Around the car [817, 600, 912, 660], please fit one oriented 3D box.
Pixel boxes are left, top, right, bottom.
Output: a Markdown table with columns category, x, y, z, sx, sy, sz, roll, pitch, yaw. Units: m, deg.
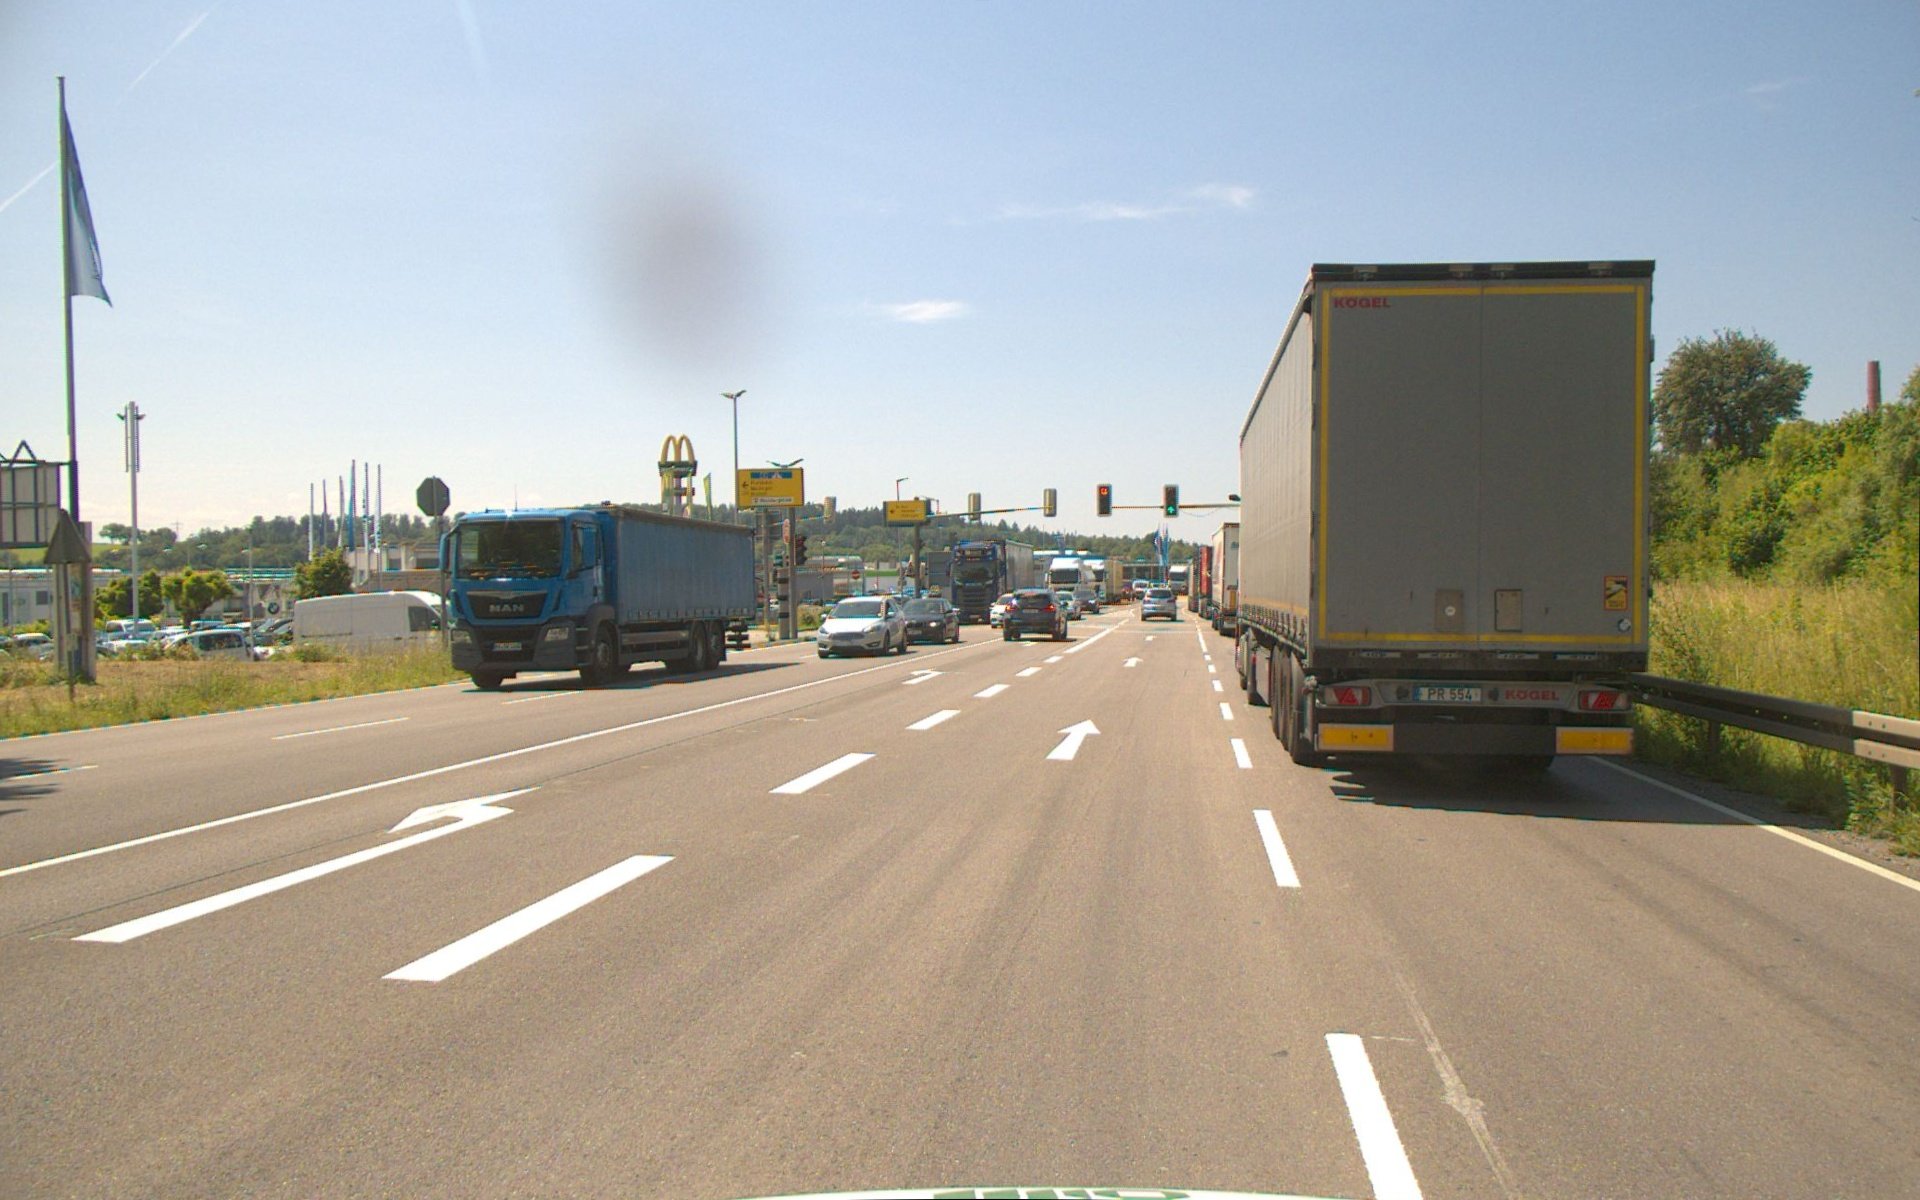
| category | x | y | z | sx | sy | sz | roll | pitch | yaw |
| --- | --- | --- | --- | --- | --- | --- | --- | --- | --- |
| car | -2.401 | 0.733 | 42.537 | 1.751 | 1.451 | 4.266 | 0 | 0 | 6 |

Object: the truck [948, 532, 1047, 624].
| category | x | y | z | sx | sy | sz | roll | pitch | yaw |
| --- | --- | --- | --- | --- | --- | --- | --- | --- | --- |
| truck | 2.283 | -1.132 | 89.146 | 3.079 | 4.425 | 17.557 | -1 | 0 | 8 |

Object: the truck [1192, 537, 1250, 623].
| category | x | y | z | sx | sy | sz | roll | pitch | yaw |
| --- | --- | --- | --- | --- | --- | --- | --- | --- | --- |
| truck | 15.081 | -0.955 | 96.560 | 2.814 | 4.557 | 16.666 | 0 | -1 | 7 |

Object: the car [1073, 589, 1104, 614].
| category | x | y | z | sx | sy | sz | roll | pitch | yaw |
| --- | --- | --- | --- | --- | --- | --- | --- | --- | --- |
| car | 8.165 | 0.093 | 104.762 | 1.628 | 1.535 | 3.908 | -2 | 0 | 9 |

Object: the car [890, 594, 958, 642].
| category | x | y | z | sx | sy | sz | roll | pitch | yaw |
| --- | --- | --- | --- | --- | --- | --- | --- | --- | --- |
| car | -1.095 | 0.538 | 51.506 | 1.627 | 1.428 | 4.019 | -1 | 0 | 6 |

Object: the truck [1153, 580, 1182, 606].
| category | x | y | z | sx | sy | sz | roll | pitch | yaw |
| --- | --- | --- | --- | --- | --- | --- | --- | --- | --- |
| truck | 32.986 | -1.103 | 262.477 | 3.201 | 4.019 | 13.877 | -1 | 0 | 13 |

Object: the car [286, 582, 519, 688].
| category | x | y | z | sx | sy | sz | roll | pitch | yaw |
| --- | --- | --- | --- | --- | --- | --- | --- | --- | --- |
| car | -16.261 | 0.992 | 48.451 | 5.868 | 2.530 | 2.196 | -5 | 0 | 2 |

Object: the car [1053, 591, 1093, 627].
| category | x | y | z | sx | sy | sz | roll | pitch | yaw |
| --- | --- | --- | --- | --- | --- | --- | --- | --- | --- |
| car | 6.091 | 0.456 | 88.492 | 1.772 | 1.534 | 4.953 | -1 | 4 | 8 |

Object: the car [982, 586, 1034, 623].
| category | x | y | z | sx | sy | sz | roll | pitch | yaw |
| --- | --- | --- | --- | --- | --- | --- | --- | --- | --- |
| car | 2.157 | 0.234 | 73.053 | 1.703 | 1.530 | 4.409 | -2 | -1 | 9 |

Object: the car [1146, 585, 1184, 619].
| category | x | y | z | sx | sy | sz | roll | pitch | yaw |
| --- | --- | --- | --- | --- | --- | --- | --- | --- | --- |
| car | 10.728 | 0.097 | 86.384 | 1.766 | 1.699 | 4.295 | 0 | 0 | 10 |

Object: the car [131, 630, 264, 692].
| category | x | y | z | sx | sy | sz | roll | pitch | yaw |
| --- | --- | --- | --- | --- | --- | --- | --- | --- | --- |
| car | -27.149 | 2.153 | 58.921 | 3.962 | 2.049 | 1.971 | -1 | -1 | -40 |

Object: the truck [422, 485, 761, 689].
| category | x | y | z | sx | sy | sz | roll | pitch | yaw |
| --- | --- | --- | --- | --- | --- | --- | --- | --- | --- |
| truck | -6.905 | -0.188 | 33.510 | 2.786 | 3.410 | 11.491 | -1 | 0 | 8 |

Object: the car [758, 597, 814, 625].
| category | x | y | z | sx | sy | sz | roll | pitch | yaw |
| --- | --- | --- | --- | --- | --- | --- | --- | --- | --- |
| car | -13.337 | 0.845 | 126.692 | 1.910 | 2.049 | 3.973 | -1 | 0 | 44 |

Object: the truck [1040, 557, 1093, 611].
| category | x | y | z | sx | sy | sz | roll | pitch | yaw |
| --- | --- | --- | --- | --- | --- | --- | --- | --- | --- |
| truck | 8.603 | -1.213 | 132.177 | 2.872 | 4.019 | 14.249 | -1 | 0 | 9 |

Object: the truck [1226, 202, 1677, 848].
| category | x | y | z | sx | sy | sz | roll | pitch | yaw |
| --- | --- | --- | --- | --- | --- | --- | --- | --- | --- |
| truck | 4.952 | -0.436 | 20.505 | 2.697 | 4.720 | 16.666 | 0 | -1 | 7 |

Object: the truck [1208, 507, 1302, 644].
| category | x | y | z | sx | sy | sz | roll | pitch | yaw |
| --- | --- | --- | --- | --- | --- | --- | --- | --- | --- |
| truck | 11.406 | -0.718 | 65.357 | 2.814 | 4.720 | 16.666 | 0 | -1 | 7 |

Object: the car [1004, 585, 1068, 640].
| category | x | y | z | sx | sy | sz | roll | pitch | yaw |
| --- | --- | --- | --- | --- | --- | --- | --- | --- | --- |
| car | 2.501 | 0.387 | 53.631 | 1.755 | 1.655 | 4.372 | -1 | 0 | 6 |

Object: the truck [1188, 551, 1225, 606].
| category | x | y | z | sx | sy | sz | roll | pitch | yaw |
| --- | --- | --- | --- | --- | --- | --- | --- | --- | --- |
| truck | 18.053 | -1.503 | 121.607 | 2.552 | 3.782 | 9.456 | 0 | -1 | 8 |

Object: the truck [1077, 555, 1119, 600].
| category | x | y | z | sx | sy | sz | roll | pitch | yaw |
| --- | --- | --- | --- | --- | --- | --- | --- | --- | --- |
| truck | 13.130 | -2.021 | 156.554 | 2.872 | 4.019 | 13.877 | -1 | 0 | 9 |
